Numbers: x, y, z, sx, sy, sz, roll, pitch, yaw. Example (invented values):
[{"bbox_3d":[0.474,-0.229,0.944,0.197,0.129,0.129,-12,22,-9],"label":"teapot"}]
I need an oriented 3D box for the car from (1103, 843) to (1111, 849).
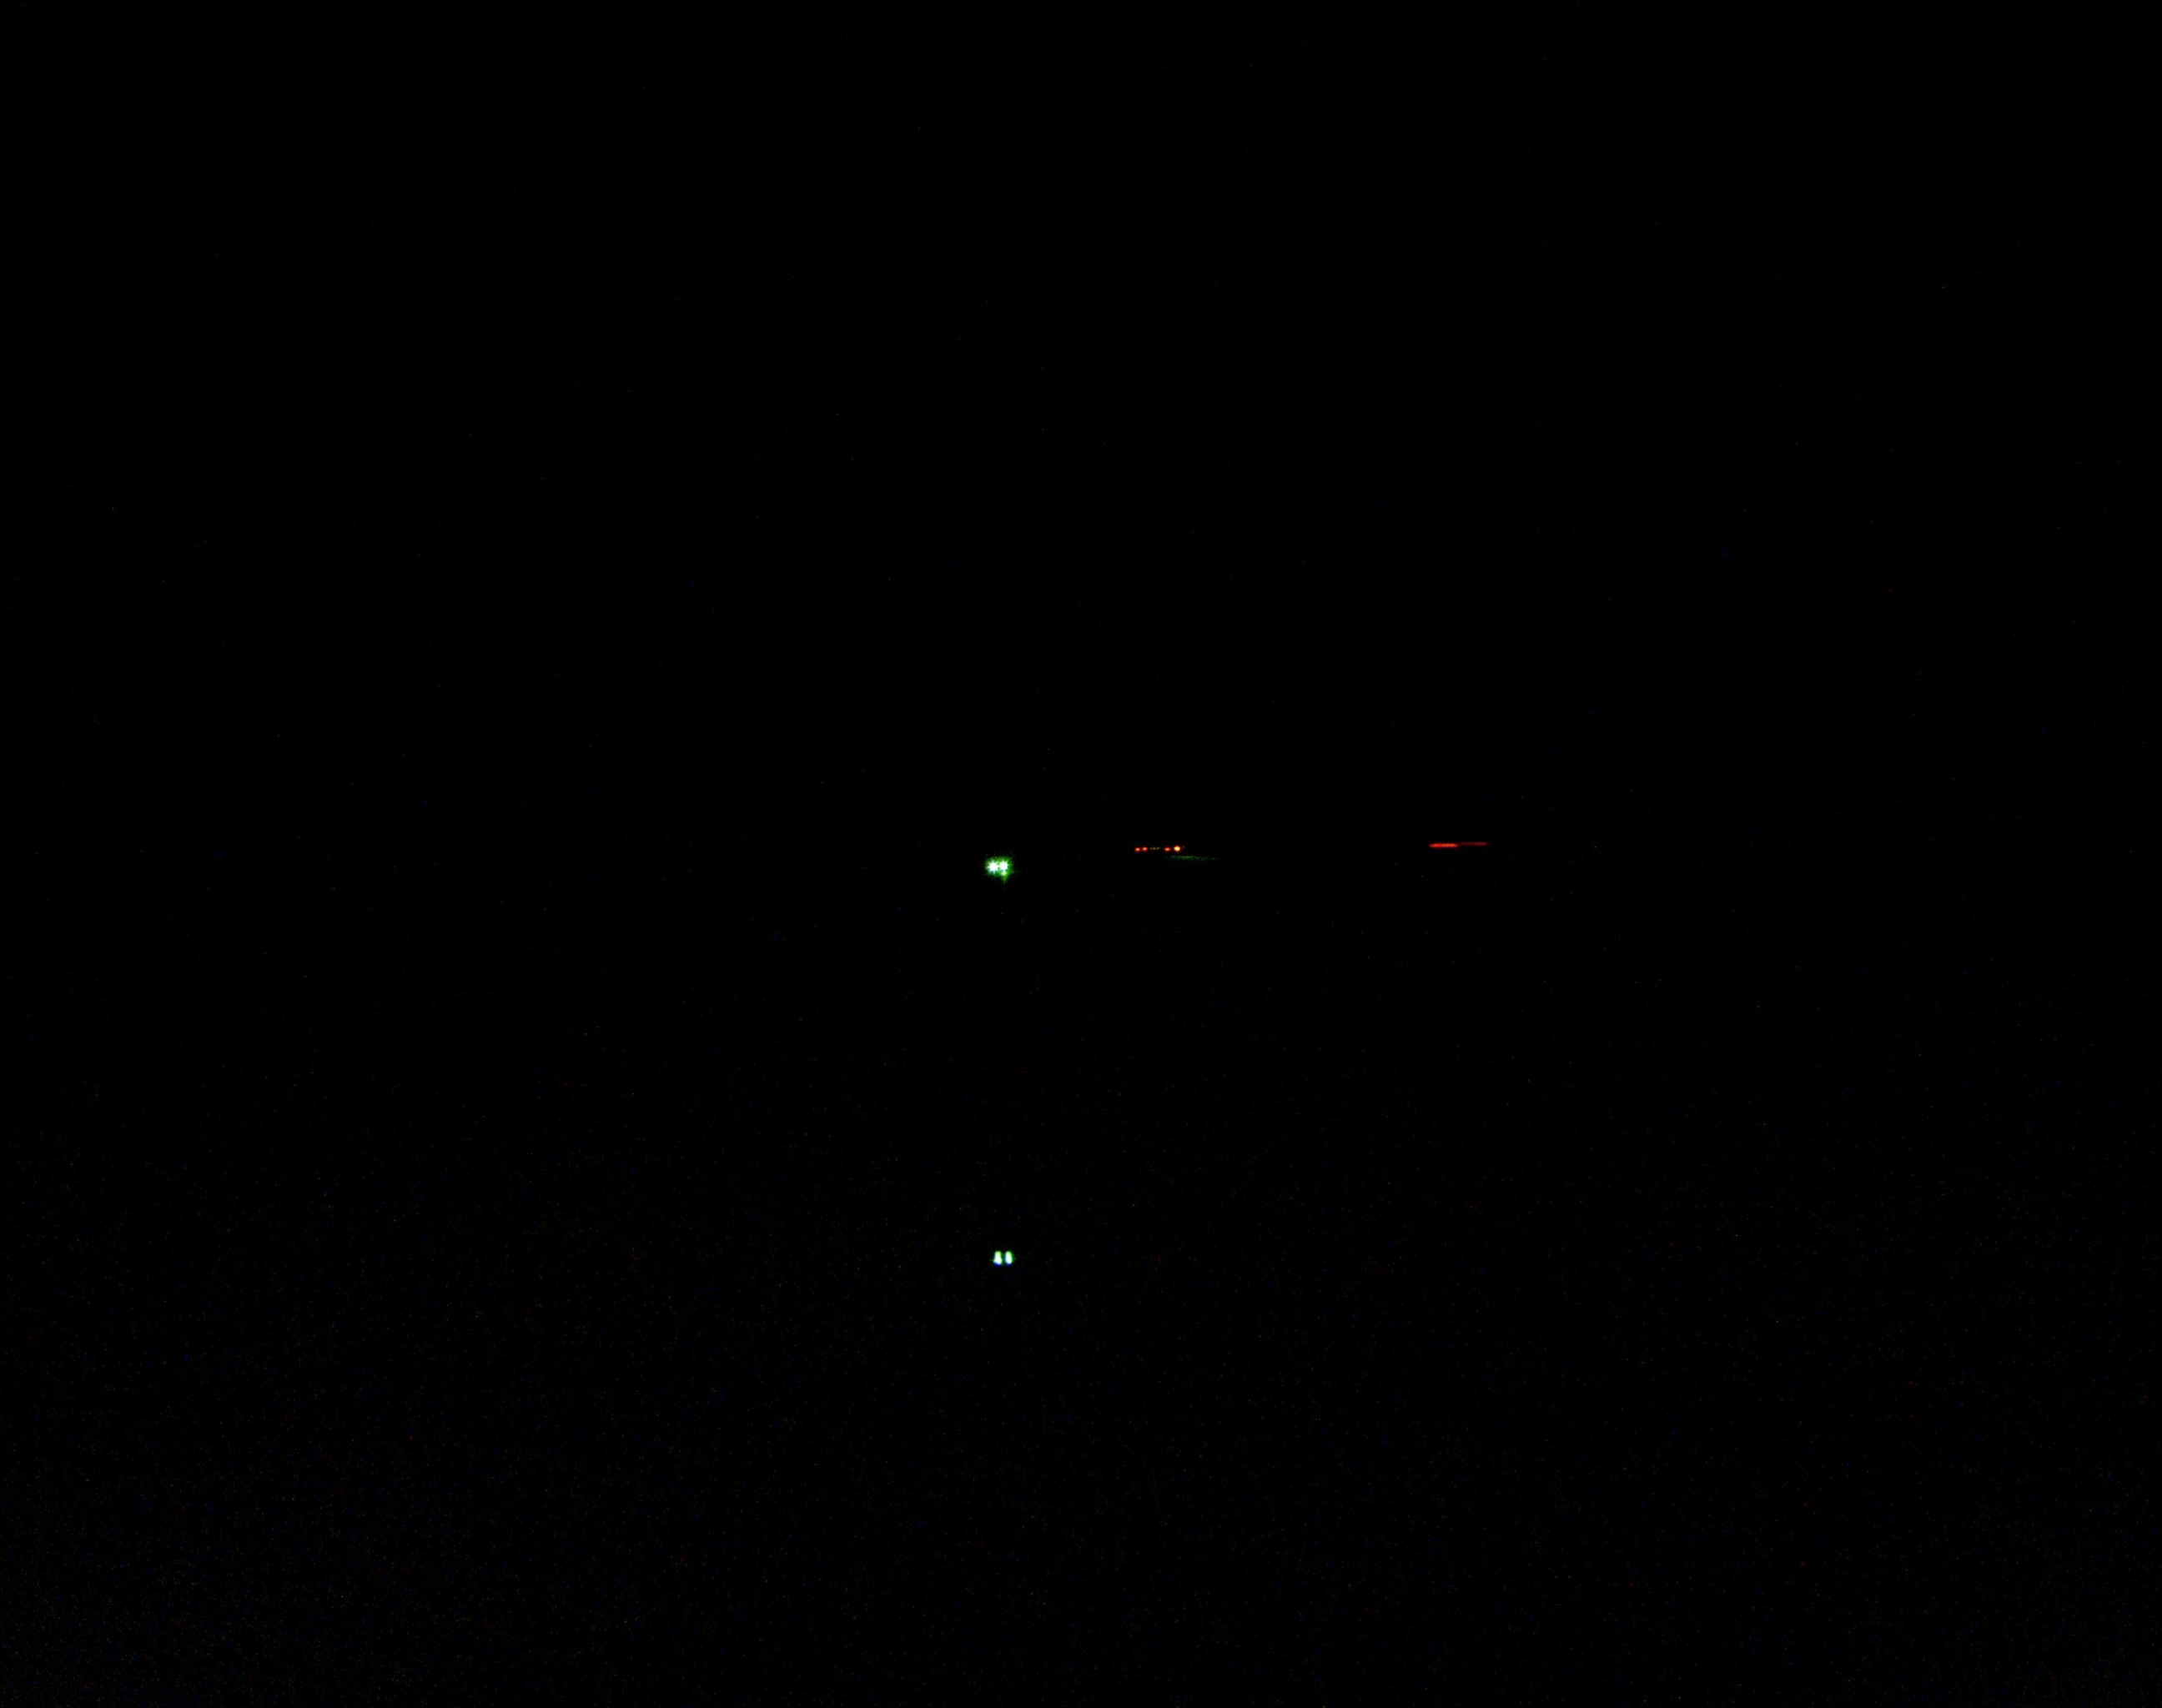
[{"bbox_3d":[6.680,-2.020,196.226,1.963,1.448,4.471,-3,0,0],"label":"car"}]

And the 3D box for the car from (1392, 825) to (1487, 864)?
[{"bbox_3d":[15.148,-0.383,32.407,1.963,1.448,4.336,-3,0,0],"label":"car"}]

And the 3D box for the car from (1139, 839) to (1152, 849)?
[{"bbox_3d":[11.883,-1.761,139.984,1.963,1.723,5.079,-3,0,0],"label":"car"}]

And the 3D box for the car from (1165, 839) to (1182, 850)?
[{"bbox_3d":[14.085,-1.427,115.504,1.963,1.448,4.336,-3,0,0],"label":"car"}]

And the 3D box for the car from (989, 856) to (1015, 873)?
[{"bbox_3d":[-9.862,1.365,94.050,2.001,1.843,3.993,-7,1,-22],"label":"car"}]
